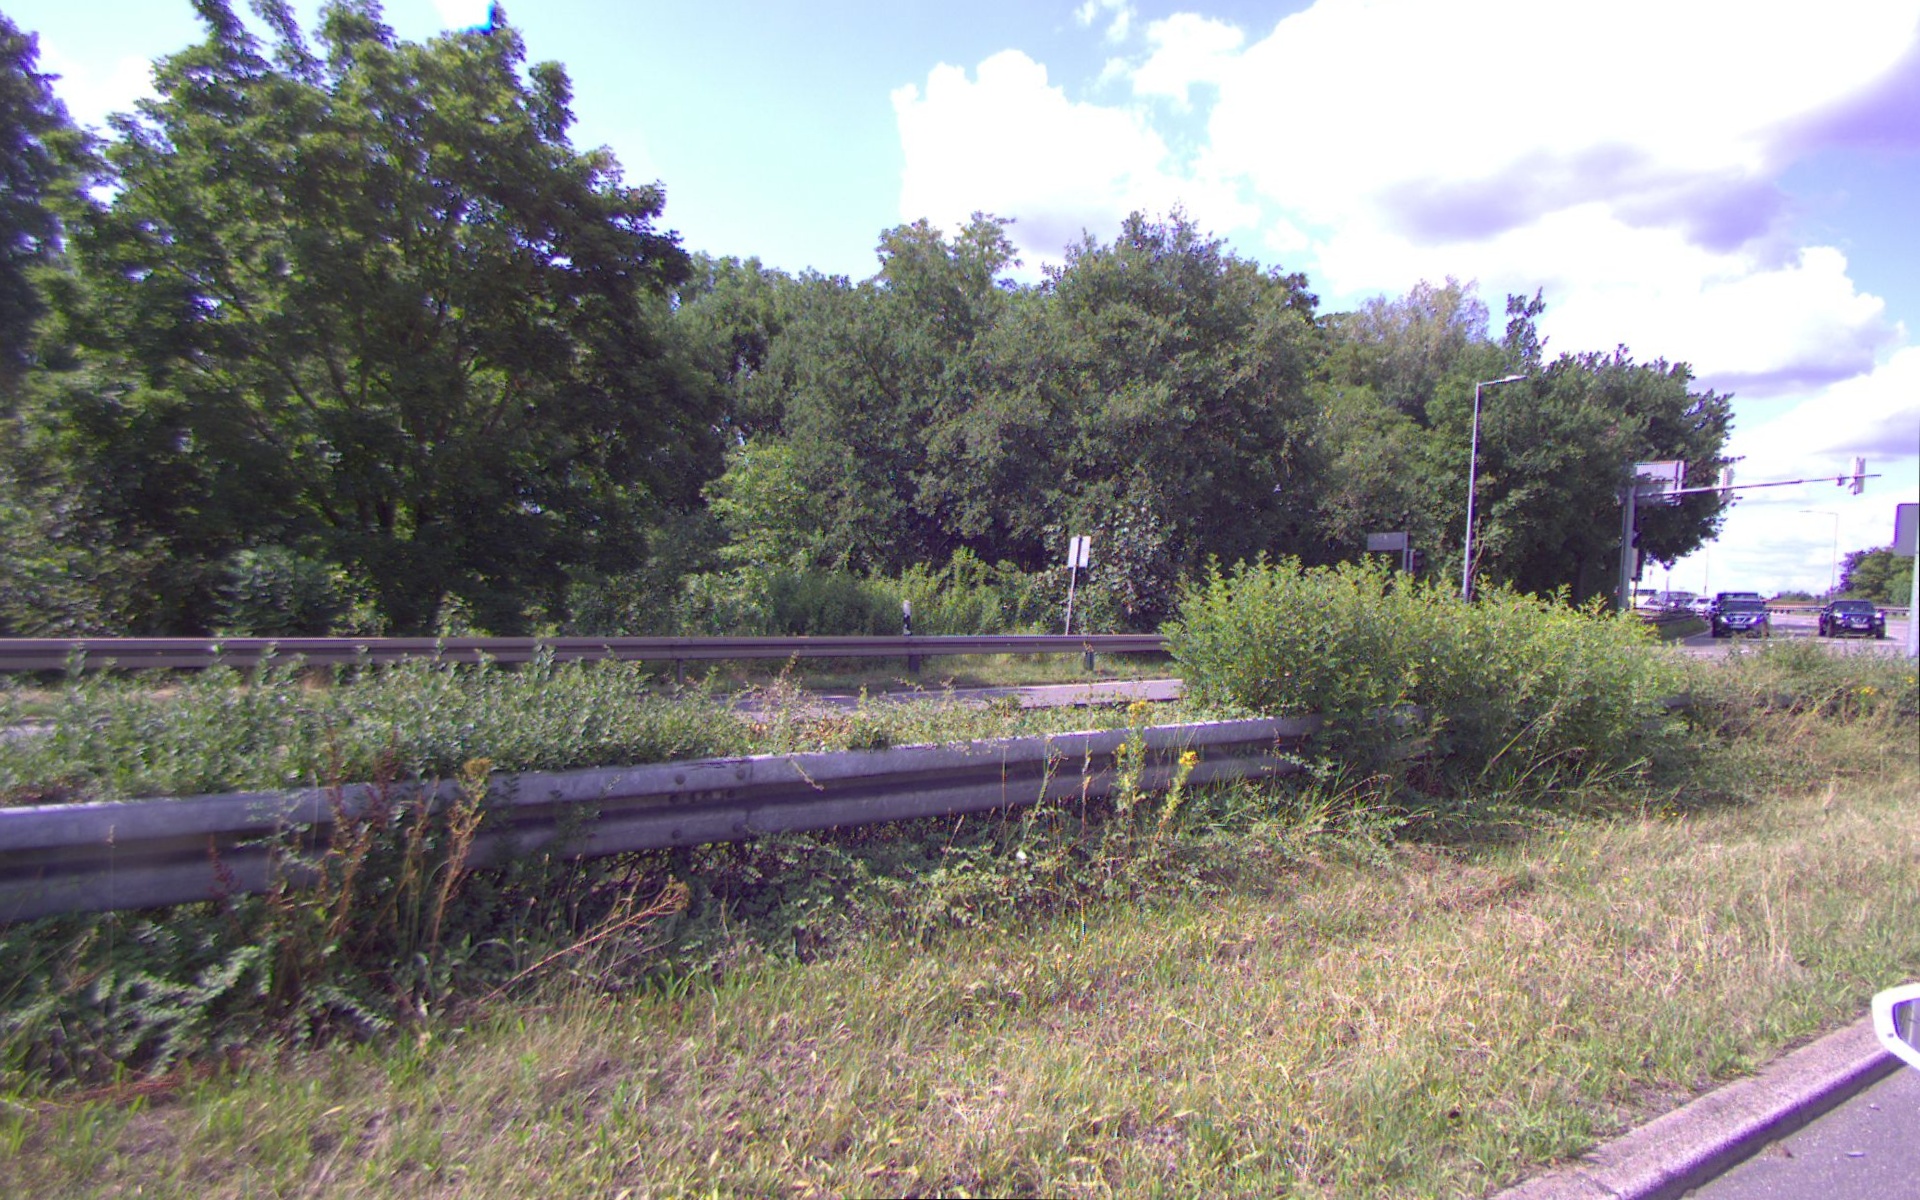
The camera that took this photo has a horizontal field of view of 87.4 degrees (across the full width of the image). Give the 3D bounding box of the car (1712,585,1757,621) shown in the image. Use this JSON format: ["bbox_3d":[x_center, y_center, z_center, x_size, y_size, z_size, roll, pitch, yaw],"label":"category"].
[{"bbox_3d":[41.794,0.137,54.202,1.820,1.826,4.308,2,1,38],"label":"car"}]

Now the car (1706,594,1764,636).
[{"bbox_3d":[32.689,0.648,42.365,1.816,1.639,3.983,2,0,38],"label":"car"}]

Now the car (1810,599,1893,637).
[{"bbox_3d":[37.300,0.720,42.114,1.919,1.437,3.960,2,1,32],"label":"car"}]

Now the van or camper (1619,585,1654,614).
[{"bbox_3d":[65.936,-0.064,97.944,1.963,2.719,6.853,2,1,28],"label":"van or camper"}]

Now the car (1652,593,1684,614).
[{"bbox_3d":[59.251,0.291,84.085,1.816,1.728,4.317,2,1,31],"label":"car"}]

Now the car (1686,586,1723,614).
[{"bbox_3d":[54.565,-0.004,73.695,1.817,2.005,4.315,2,1,33],"label":"car"}]
